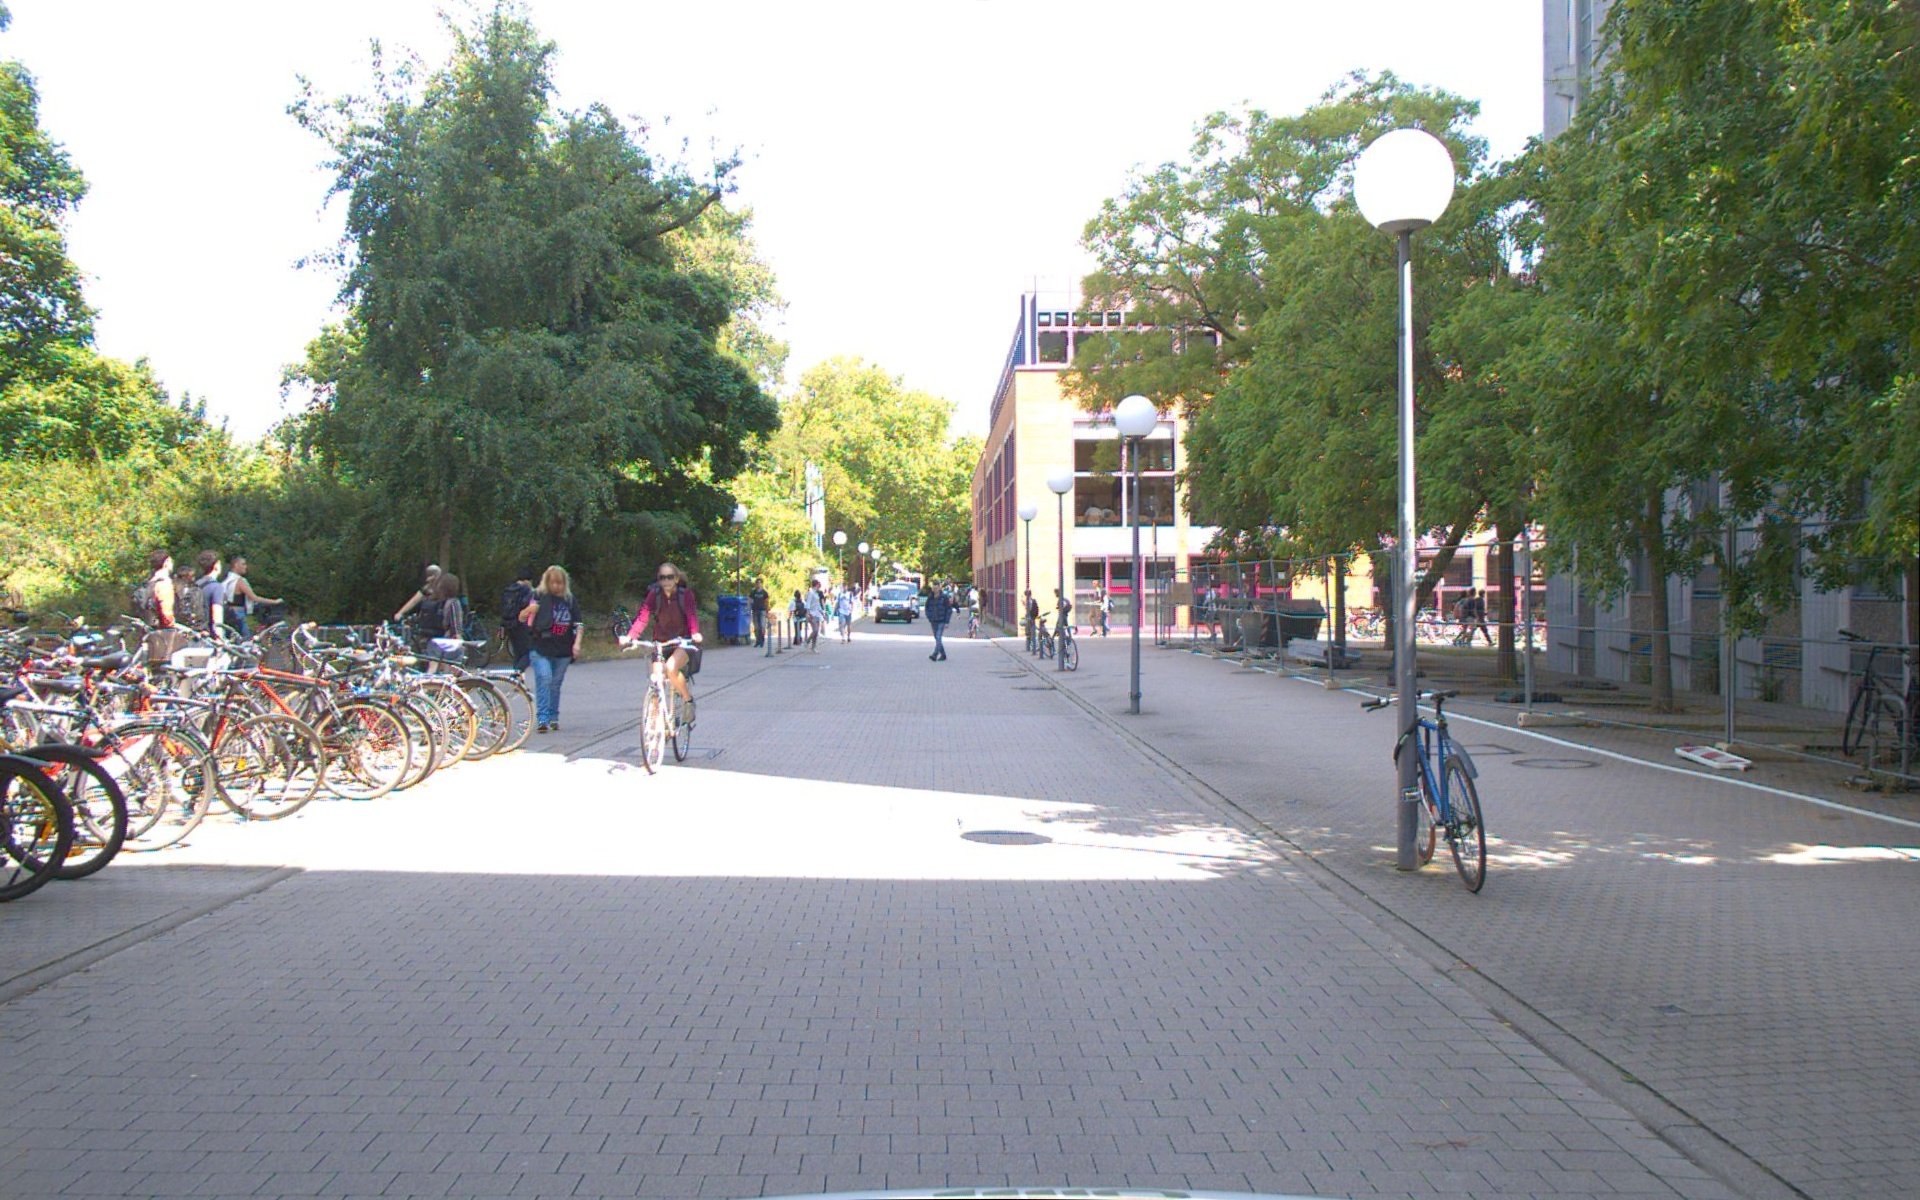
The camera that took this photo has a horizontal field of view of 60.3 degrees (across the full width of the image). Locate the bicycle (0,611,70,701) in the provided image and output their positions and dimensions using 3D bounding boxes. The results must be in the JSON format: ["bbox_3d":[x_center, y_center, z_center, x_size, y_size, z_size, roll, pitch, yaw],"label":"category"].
[{"bbox_3d":[-12.480,0.715,21.741,1.738,1.129,0.473,0,0,28],"label":"bicycle"}]

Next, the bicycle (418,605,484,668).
[{"bbox_3d":[-9.278,0.661,30.139,0.470,1.065,1.674,2,0,-42],"label":"bicycle"}]

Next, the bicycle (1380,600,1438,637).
[{"bbox_3d":[13.952,0.576,51.455,1.659,1.129,0.474,1,0,2],"label":"bicycle"}]

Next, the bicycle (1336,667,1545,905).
[{"bbox_3d":[2.533,0.938,8.920,0.526,1.057,1.858,-1,0,-2],"label":"bicycle"}]

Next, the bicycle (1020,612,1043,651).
[{"bbox_3d":[1.921,0.840,44.650,0.441,0.978,1.739,-3,0,-2],"label":"bicycle"}]

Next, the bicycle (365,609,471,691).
[{"bbox_3d":[-7.745,0.694,23.724,0.462,1.129,1.846,0,0,17],"label":"bicycle"}]

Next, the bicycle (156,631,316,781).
[{"bbox_3d":[-5.839,0.820,13.435,0.496,1.102,1.700,0,0,2],"label":"bicycle"}]

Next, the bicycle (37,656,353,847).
[{"bbox_3d":[-4.610,0.879,10.032,1.681,1.036,0.468,0,0,-37],"label":"bicycle"}]

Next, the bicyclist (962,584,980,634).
[{"bbox_3d":[0.385,0.314,58.491,0.576,1.746,0.664,0,0,-8],"label":"bicyclist"}]

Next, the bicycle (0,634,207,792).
[{"bbox_3d":[-6.498,0.821,12.301,1.658,1.102,0.474,0,0,11],"label":"bicycle"}]

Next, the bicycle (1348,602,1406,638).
[{"bbox_3d":[13.631,0.661,54.088,1.771,1.129,0.524,1,0,2],"label":"bicycle"}]

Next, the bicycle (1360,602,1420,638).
[{"bbox_3d":[13.840,0.644,53.237,1.773,1.129,0.523,1,0,-2],"label":"bicycle"}]

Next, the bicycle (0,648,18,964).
[{"bbox_3d":[-4.507,0.793,6.128,1.663,1.219,0.535,0,0,-10],"label":"bicycle"}]

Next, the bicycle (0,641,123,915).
[{"bbox_3d":[-4.775,0.795,7.504,1.664,1.208,0.472,0,0,-13],"label":"bicycle"}]

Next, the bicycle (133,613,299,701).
[{"bbox_3d":[-9.390,0.713,20.907,1.880,1.065,0.537,1,0,-28],"label":"bicycle"}]

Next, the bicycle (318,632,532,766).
[{"bbox_3d":[-4.554,0.838,14.148,1.662,1.110,0.473,0,0,-8],"label":"bicycle"}]

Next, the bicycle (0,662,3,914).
[{"bbox_3d":[-5.046,0.835,6.944,1.664,1.127,0.564,0,0,-13],"label":"bicycle"}]

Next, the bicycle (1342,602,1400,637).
[{"bbox_3d":[13.688,0.657,55.058,1.773,1.129,0.523,1,0,-4],"label":"bicycle"}]

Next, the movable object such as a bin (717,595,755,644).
[{"bbox_3d":[-6.439,0.565,47.644,0.694,1.359,1.240,2,0,9],"label":"movable object such as a bin"}]

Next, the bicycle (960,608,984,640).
[{"bbox_3d":[0.409,0.843,58.315,0.576,1.102,1.904,0,0,-8],"label":"bicycle"}]

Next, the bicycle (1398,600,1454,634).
[{"bbox_3d":[15.891,0.582,56.427,1.771,1.129,0.473,1,0,-7],"label":"bicycle"}]

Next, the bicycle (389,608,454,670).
[{"bbox_3d":[-9.664,0.687,29.644,0.470,1.065,1.674,1,0,-42],"label":"bicycle"}]

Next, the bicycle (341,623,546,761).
[{"bbox_3d":[-4.541,0.805,14.617,1.663,1.179,0.473,0,0,-10],"label":"bicycle"}]

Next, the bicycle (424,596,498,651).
[{"bbox_3d":[-10.061,0.479,33.421,0.463,1.065,1.700,2,0,20],"label":"bicycle"}]

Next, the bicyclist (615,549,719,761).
[{"bbox_3d":[-2.493,0.464,14.164,0.756,1.746,0.910,1,-1,-4],"label":"bicyclist"}]

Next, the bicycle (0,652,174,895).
[{"bbox_3d":[-4.795,0.826,8.031,1.664,1.127,0.581,0,0,-13],"label":"bicycle"}]

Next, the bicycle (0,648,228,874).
[{"bbox_3d":[-4.810,0.833,8.763,1.675,1.127,0.469,0,0,-29],"label":"bicycle"}]

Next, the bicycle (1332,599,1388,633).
[{"bbox_3d":[13.769,0.532,56.929,1.773,1.129,0.523,1,0,-3],"label":"bicycle"}]

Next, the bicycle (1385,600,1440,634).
[{"bbox_3d":[15.805,0.596,57.777,1.771,1.129,0.473,1,0,-7],"label":"bicycle"}]

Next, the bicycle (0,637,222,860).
[{"bbox_3d":[-5.028,0.803,9.169,1.675,1.178,0.469,0,0,-29],"label":"bicycle"}]

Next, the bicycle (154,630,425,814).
[{"bbox_3d":[-4.532,0.806,11.282,1.668,1.189,0.471,0,0,-19],"label":"bicycle"}]

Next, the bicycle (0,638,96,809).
[{"bbox_3d":[-6.758,0.811,11.221,1.658,1.102,0.474,0,0,12],"label":"bicycle"}]

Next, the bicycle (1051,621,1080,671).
[{"bbox_3d":[2.123,0.914,33.341,0.387,0.952,1.731,-2,0,-2],"label":"bicycle"}]

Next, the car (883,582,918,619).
[{"bbox_3d":[-3.311,-0.001,92.723,1.845,2.008,5.213,0,0,-1],"label":"car"}]

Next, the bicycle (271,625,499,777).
[{"bbox_3d":[-4.629,0.808,13.384,1.662,1.189,0.473,0,0,-8],"label":"bicycle"}]

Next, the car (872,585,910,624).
[{"bbox_3d":[-3.303,0.192,79.794,1.754,1.792,4.480,0,0,-1],"label":"car"}]

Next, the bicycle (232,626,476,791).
[{"bbox_3d":[-4.588,0.801,12.533,1.737,1.189,0.474,0,0,12],"label":"bicycle"}]

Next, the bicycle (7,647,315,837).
[{"bbox_3d":[-4.982,0.852,10.375,1.681,1.080,0.468,0,0,-37],"label":"bicycle"}]

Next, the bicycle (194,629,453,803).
[{"bbox_3d":[-4.516,0.808,11.825,1.665,1.189,0.472,0,0,-14],"label":"bicycle"}]
